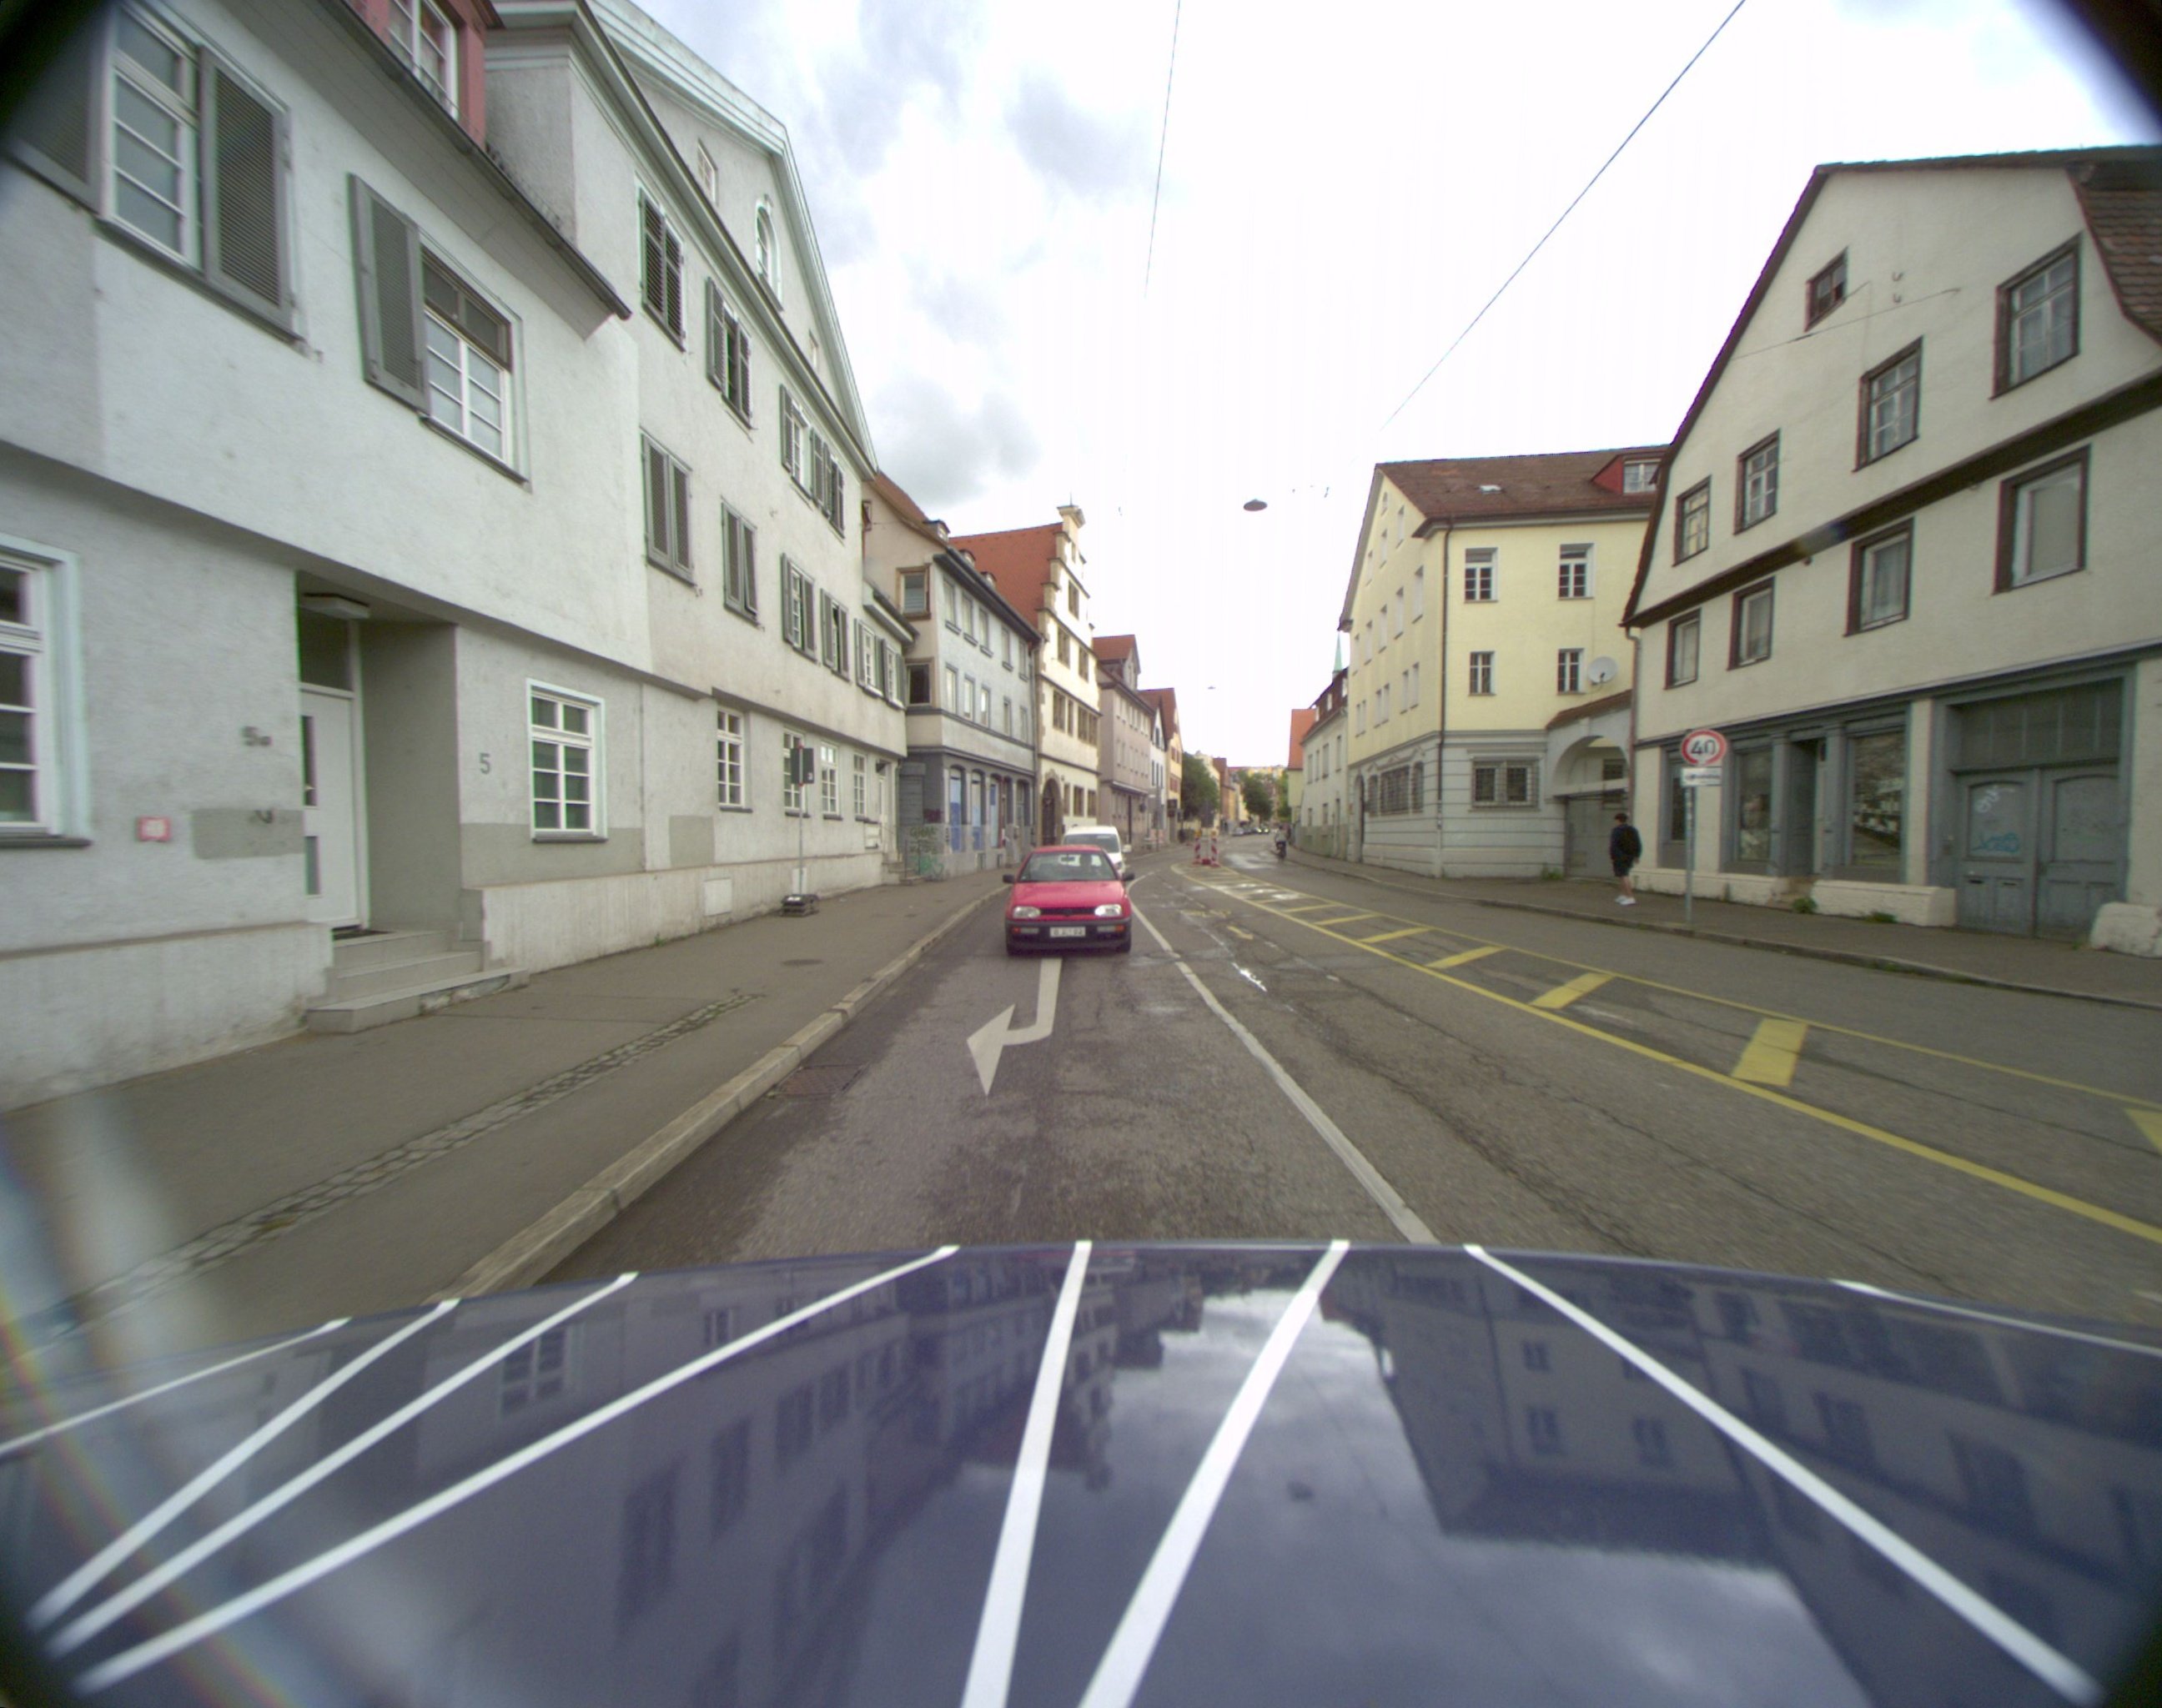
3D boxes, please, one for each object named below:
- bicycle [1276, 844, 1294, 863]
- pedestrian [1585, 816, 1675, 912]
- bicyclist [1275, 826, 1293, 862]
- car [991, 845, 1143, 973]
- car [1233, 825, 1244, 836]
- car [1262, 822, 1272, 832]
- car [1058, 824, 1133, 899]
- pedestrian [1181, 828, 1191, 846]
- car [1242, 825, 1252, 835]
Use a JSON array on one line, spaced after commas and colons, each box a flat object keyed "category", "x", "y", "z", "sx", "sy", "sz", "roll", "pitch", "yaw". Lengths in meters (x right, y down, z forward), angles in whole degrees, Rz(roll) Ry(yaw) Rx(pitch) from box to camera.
[{"category": "bicycle", "x": 9.850, "y": -0.026, "z": 36.695, "sx": 0.542, "sy": 0.887, "sz": 1.881, "roll": 0, "pitch": 1, "yaw": 7}, {"category": "pedestrian", "x": 11.176, "y": 0.203, "z": 15.507, "sx": 1.056, "sy": 1.875, "sz": 1.092, "roll": -1, "pitch": 0, "yaw": 4}, {"category": "bicyclist", "x": 9.818, "y": -0.481, "z": 36.798, "sx": 0.724, "sy": 1.691, "sz": 0.811, "roll": 0, "pitch": 2, "yaw": 6}, {"category": "car", "x": -0.125, "y": 0.654, "z": 11.314, "sx": 1.804, "sy": 1.458, "sz": 3.999, "roll": -3, "pitch": 1, "yaw": 1}, {"category": "car", "x": 29.308, "y": -4.288, "z": 141.343, "sx": 1.996, "sy": 2.002, "sz": 4.003, "roll": 0, "pitch": 1, "yaw": 13}, {"category": "car", "x": 39.668, "y": -5.738, "z": 161.724, "sx": 1.996, "sy": 2.002, "sz": 4.003, "roll": 0, "pitch": 1, "yaw": 13}, {"category": "car", "x": 0.391, "y": 0.130, "z": 20.259, "sx": 1.804, "sy": 1.781, "sz": 4.348, "roll": 0, "pitch": 1, "yaw": 1}, {"category": "pedestrian", "x": 11.148, "y": -1.848, "z": 80.884, "sx": 0.878, "sy": 1.889, "sz": 0.897, "roll": 0, "pitch": 2, "yaw": -2}, {"category": "car", "x": 35.362, "y": -5.124, "z": 161.939, "sx": 1.996, "sy": 2.002, "sz": 4.003, "roll": 0, "pitch": 1, "yaw": 13}]
